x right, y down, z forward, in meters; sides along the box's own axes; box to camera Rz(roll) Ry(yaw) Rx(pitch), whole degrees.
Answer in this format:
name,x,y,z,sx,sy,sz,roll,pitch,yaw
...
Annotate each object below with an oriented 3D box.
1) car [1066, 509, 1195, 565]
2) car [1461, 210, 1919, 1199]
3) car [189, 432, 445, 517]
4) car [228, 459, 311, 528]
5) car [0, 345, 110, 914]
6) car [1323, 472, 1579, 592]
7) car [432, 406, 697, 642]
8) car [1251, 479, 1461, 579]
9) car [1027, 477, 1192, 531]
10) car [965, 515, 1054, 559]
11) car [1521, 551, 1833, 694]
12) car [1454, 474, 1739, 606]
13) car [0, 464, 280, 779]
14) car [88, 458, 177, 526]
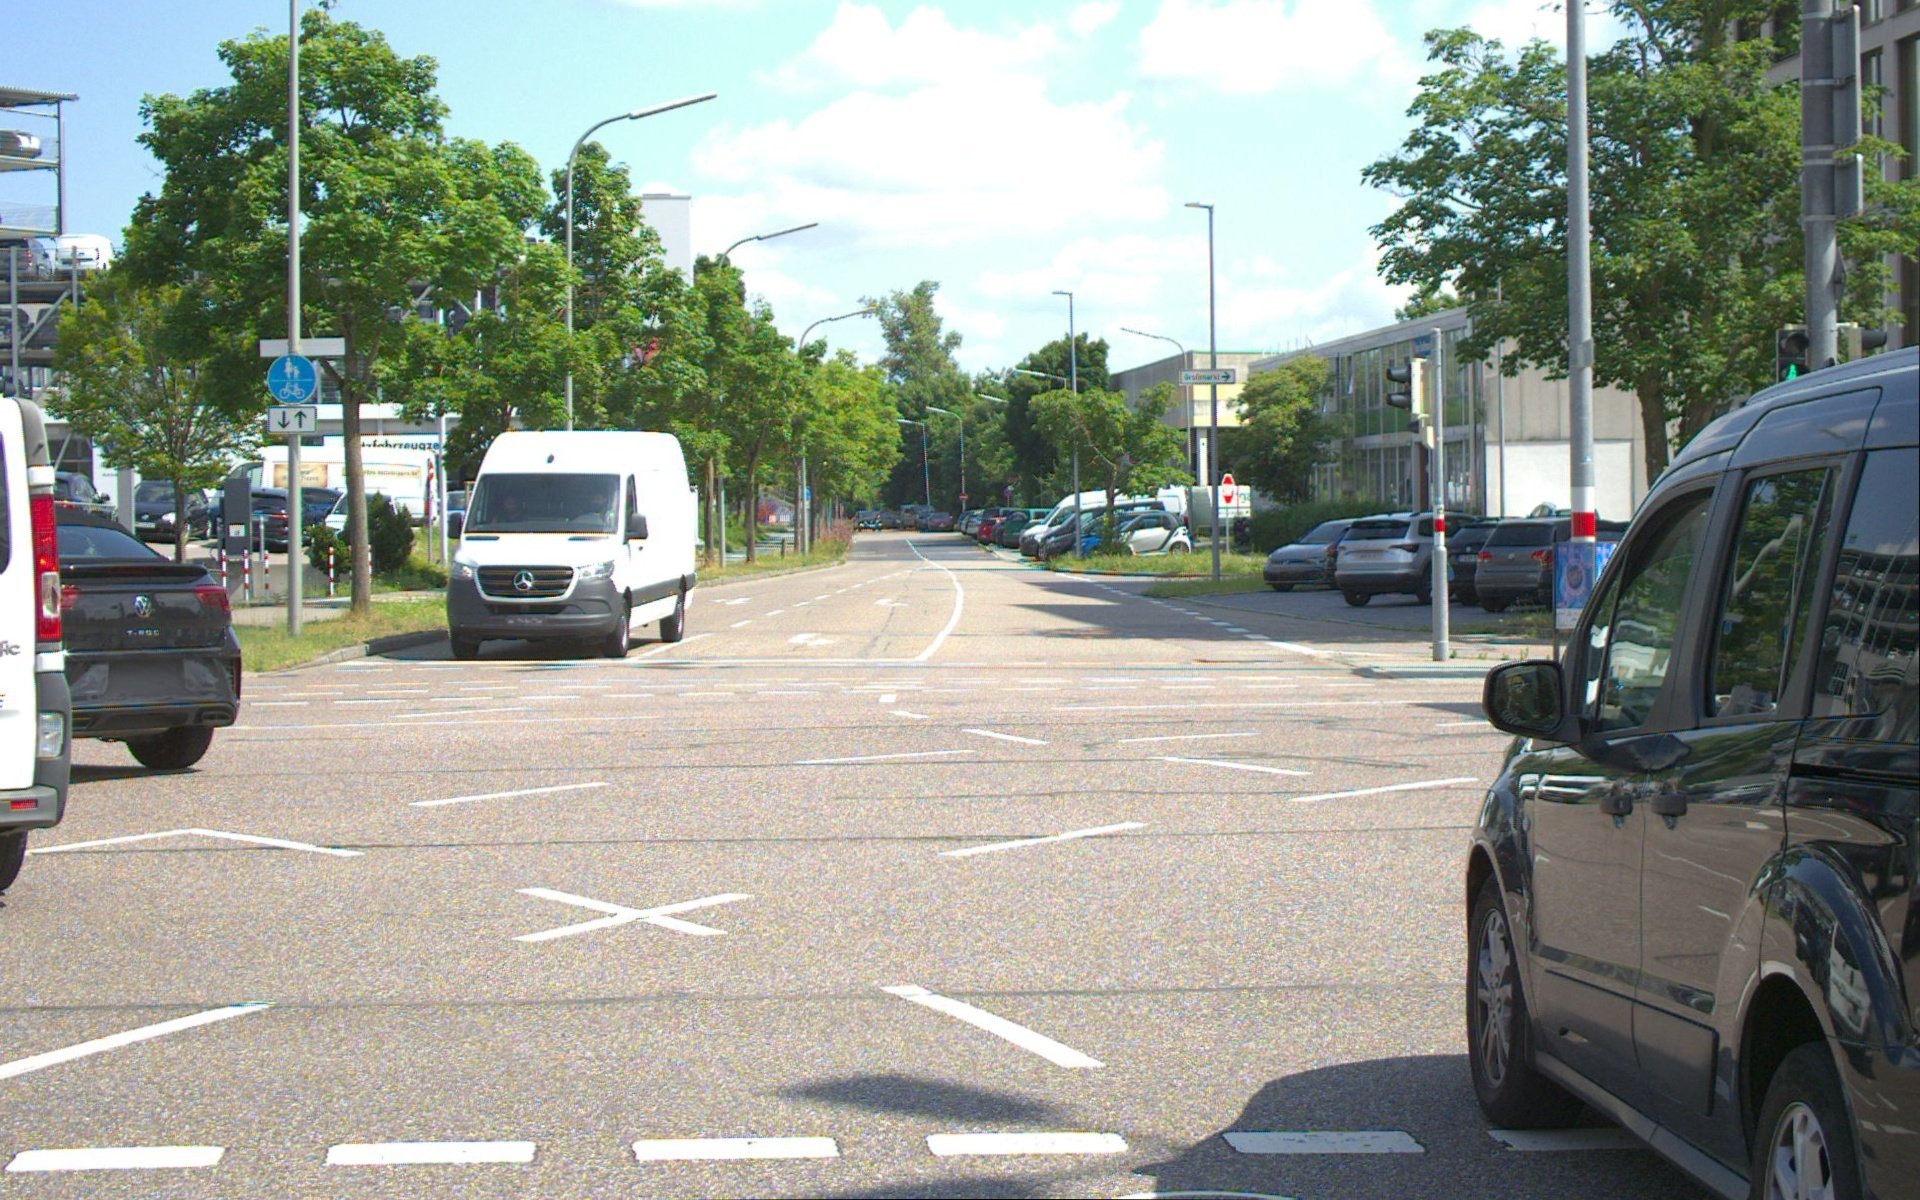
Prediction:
name,x,y,z,sx,sy,sz,roll,pitch,yaw
car,5.527,-2.033,111.573,3.986,1.744,2.000,1,0,-2
car,2.218,0.376,6.815,1.823,1.898,4.000,0,1,-1
car,-16.745,-3.265,89.760,6.386,2.095,1.765,1,0,-5
car,-16.516,-2.534,82.319,1.560,1.547,3.603,1,0,-5
car,-5.283,0.083,13.881,1.973,2.053,4.563,0,1,-37
car,8.512,-1.168,59.808,3.986,2.007,2.000,1,0,-8
car,-4.657,-0.865,41.612,2.133,2.598,6.863,1,0,2
car,8.267,-1.475,71.967,3.986,2.007,2.000,1,0,-8
car,5.900,-3.816,136.415,6.340,2.007,2.573,1,0,-2
car,2.345,-3.019,164.769,3.986,2.007,2.000,1,0,-8
car,10.419,0.316,50.104,3.986,2.007,2.000,1,0,-8
car,10.054,-0.937,54.445,3.986,2.007,2.000,1,0,-8
car,-5.761,0.081,19.738,1.775,1.624,3.998,-1,1,-44
car,-19.904,-2.583,82.828,1.560,1.547,3.603,1,0,-5
